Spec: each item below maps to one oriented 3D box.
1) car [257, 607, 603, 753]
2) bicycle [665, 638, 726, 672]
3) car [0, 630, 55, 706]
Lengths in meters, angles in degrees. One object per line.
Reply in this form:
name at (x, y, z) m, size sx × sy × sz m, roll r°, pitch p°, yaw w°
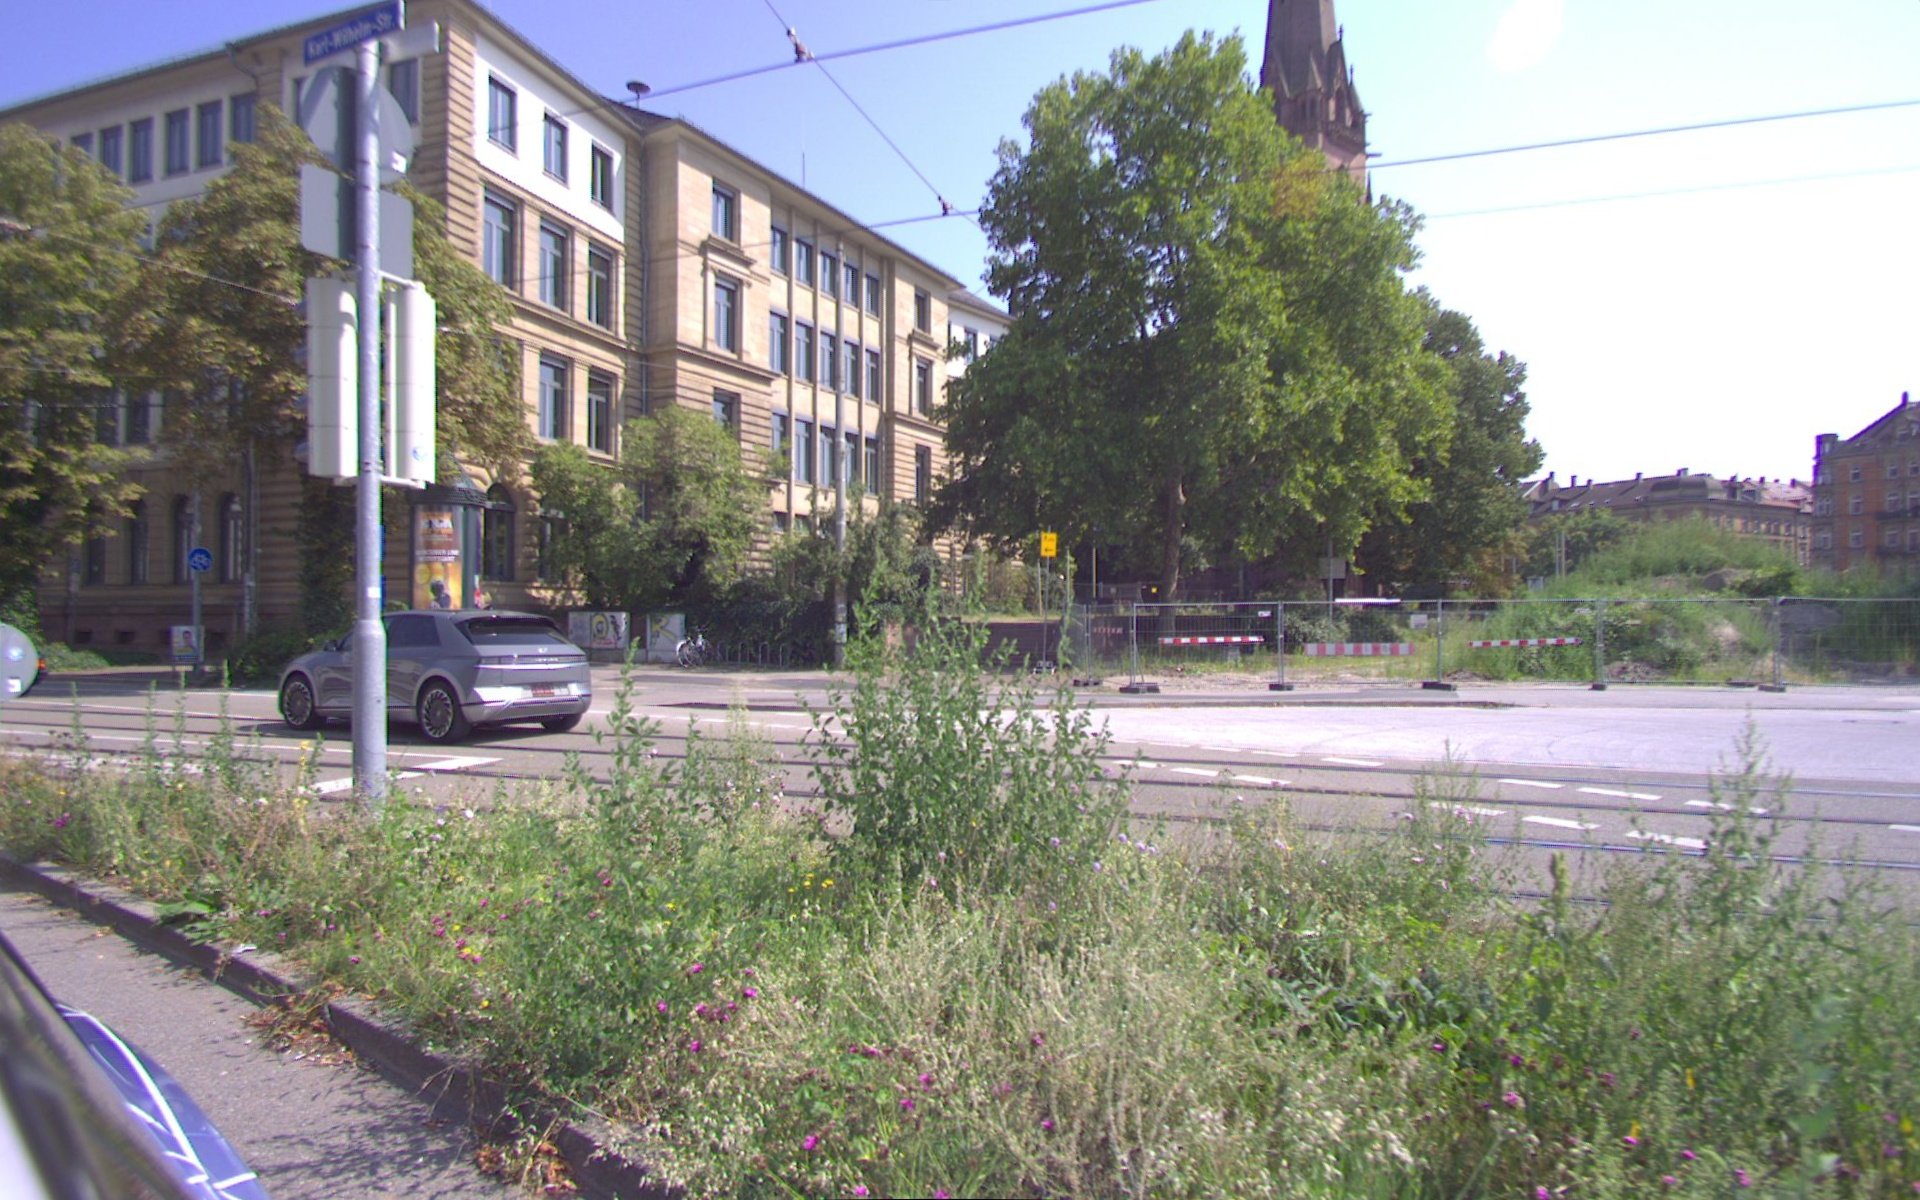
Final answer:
car at (-6.969, 0.947, 13.193) m, size 4.653 × 1.623 × 1.760 m, roll -1°, pitch -2°, yaw 29°
bicycle at (-7.519, 1.553, 28.885) m, size 0.743 × 0.901 × 2.170 m, roll -1°, pitch -2°, yaw 15°
car at (-19.813, 1.281, 19.424) m, size 4.582 × 1.388 × 1.682 m, roll -1°, pitch -1°, yaw 20°
